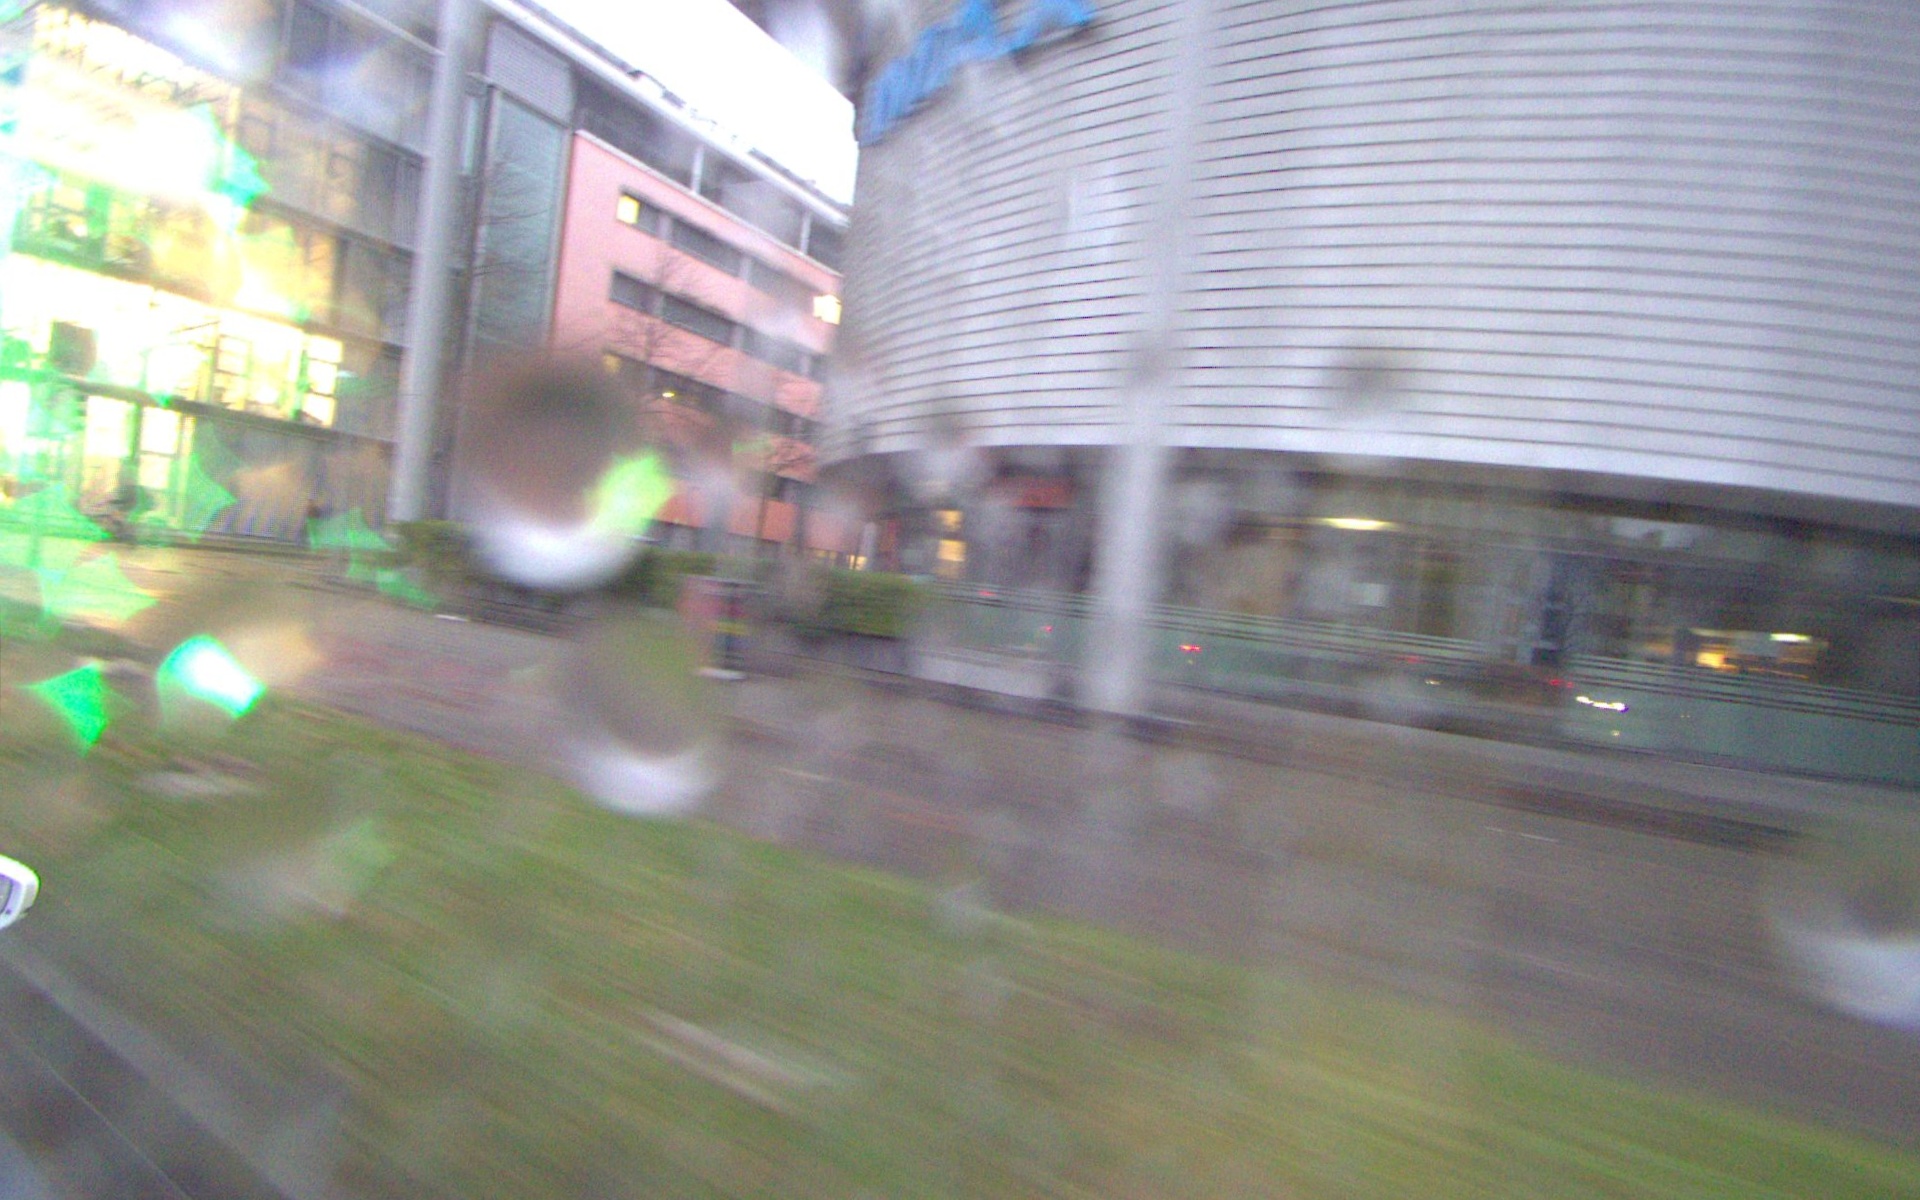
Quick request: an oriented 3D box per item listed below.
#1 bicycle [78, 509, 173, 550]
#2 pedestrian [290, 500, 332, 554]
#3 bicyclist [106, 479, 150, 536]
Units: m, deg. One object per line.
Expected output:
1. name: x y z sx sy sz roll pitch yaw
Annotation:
1. bicycle: -21.729 -1.830 26.230 1.713 0.754 0.648 9 -2 -25
2. pedestrian: -22.243 -2.493 34.476 0.714 1.673 0.808 7 -1 33
3. bicyclist: -21.704 -2.409 26.245 0.616 1.345 0.562 8 -1 -26
